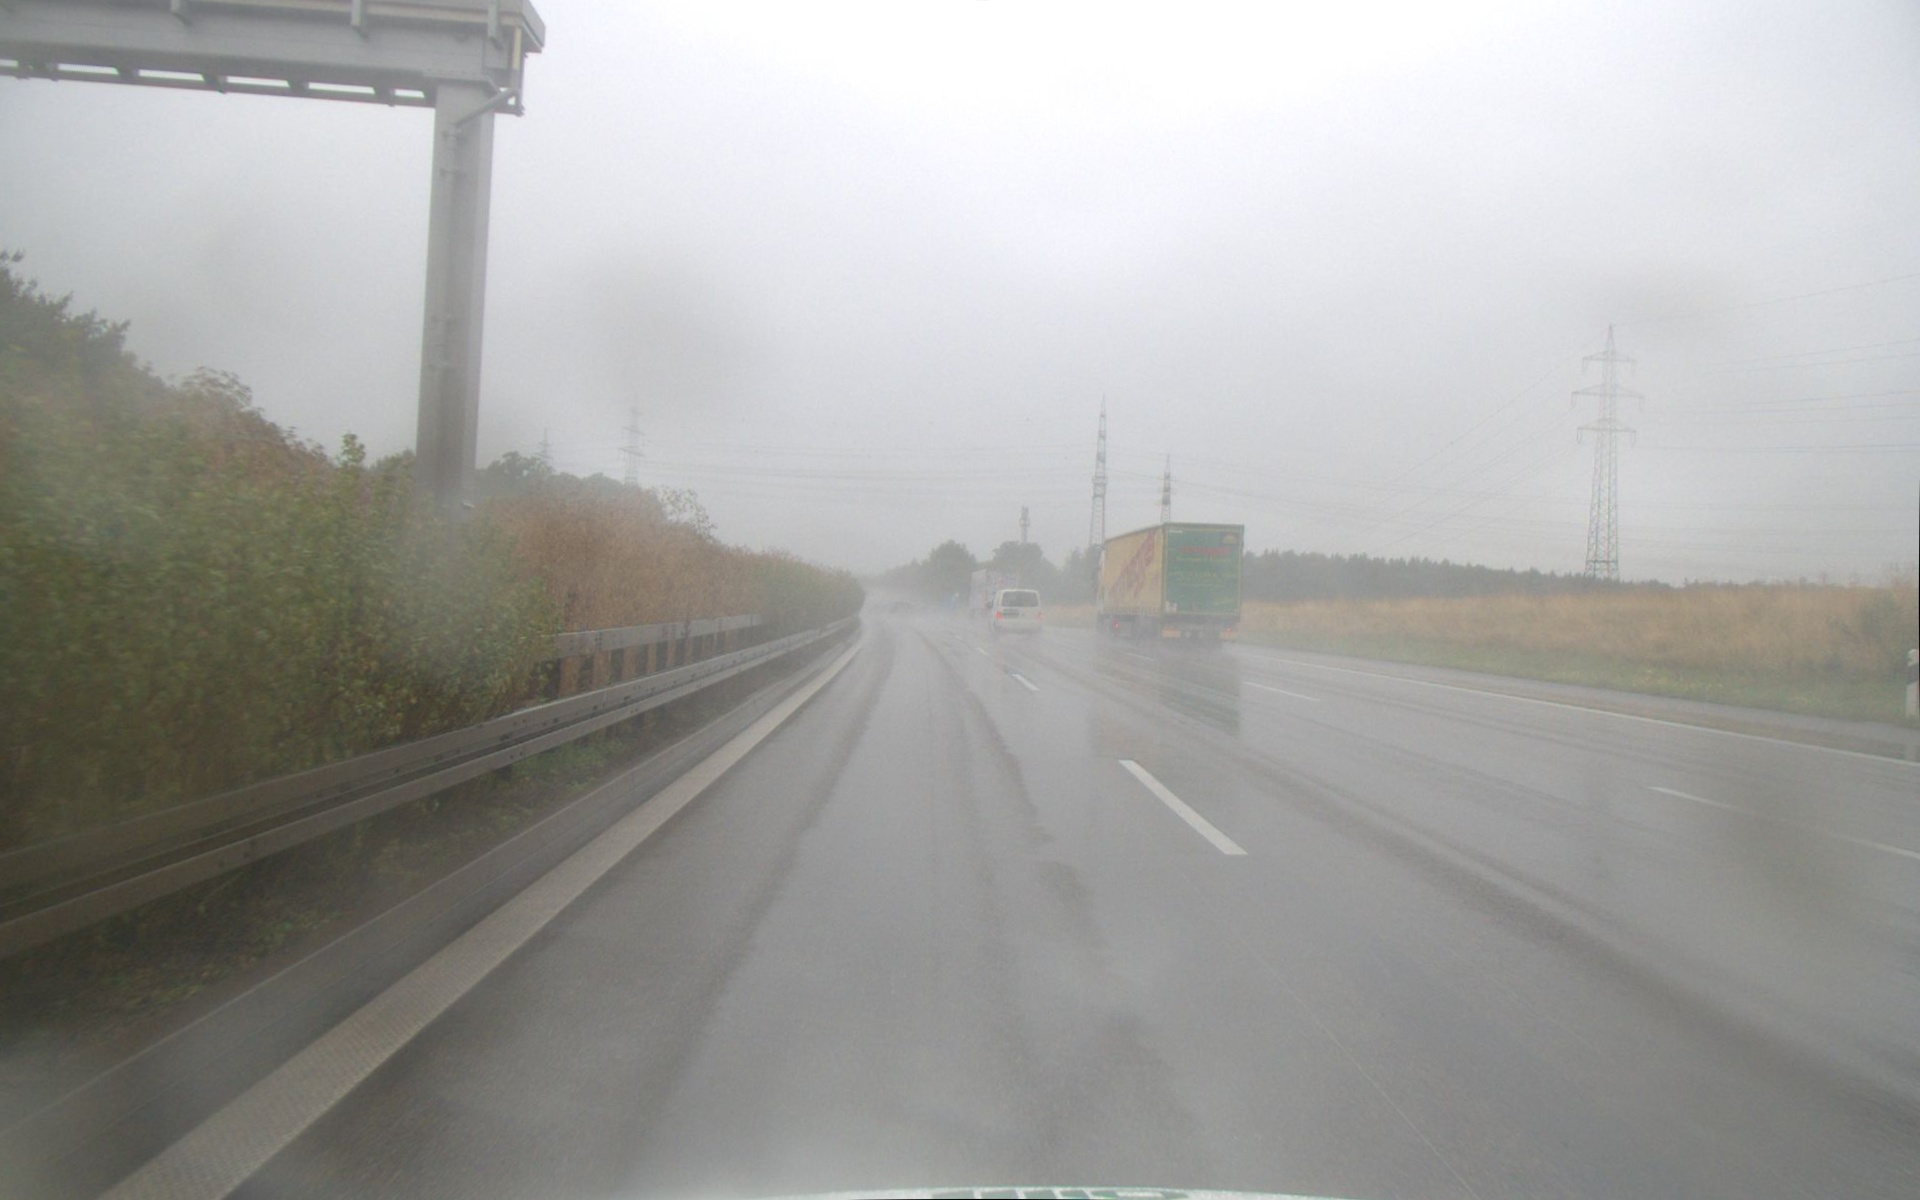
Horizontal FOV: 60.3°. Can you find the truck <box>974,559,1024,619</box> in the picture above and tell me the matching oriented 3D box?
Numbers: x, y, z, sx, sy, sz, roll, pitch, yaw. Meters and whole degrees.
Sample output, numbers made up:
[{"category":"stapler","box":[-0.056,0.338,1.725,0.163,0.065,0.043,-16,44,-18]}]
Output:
[{"category":"truck","box":[2.950,-0.875,127.300,3.168,4.386,8.832,1,1,-3]}]

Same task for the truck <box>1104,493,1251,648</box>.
[{"category":"truck","box":[7.424,-0.919,59.220,4.101,4.711,16.113,1,0,4]}]

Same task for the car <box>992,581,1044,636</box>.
[{"category":"car","box":[2.318,0.308,65.155,1.952,2.049,4.002,1,1,3]}]
